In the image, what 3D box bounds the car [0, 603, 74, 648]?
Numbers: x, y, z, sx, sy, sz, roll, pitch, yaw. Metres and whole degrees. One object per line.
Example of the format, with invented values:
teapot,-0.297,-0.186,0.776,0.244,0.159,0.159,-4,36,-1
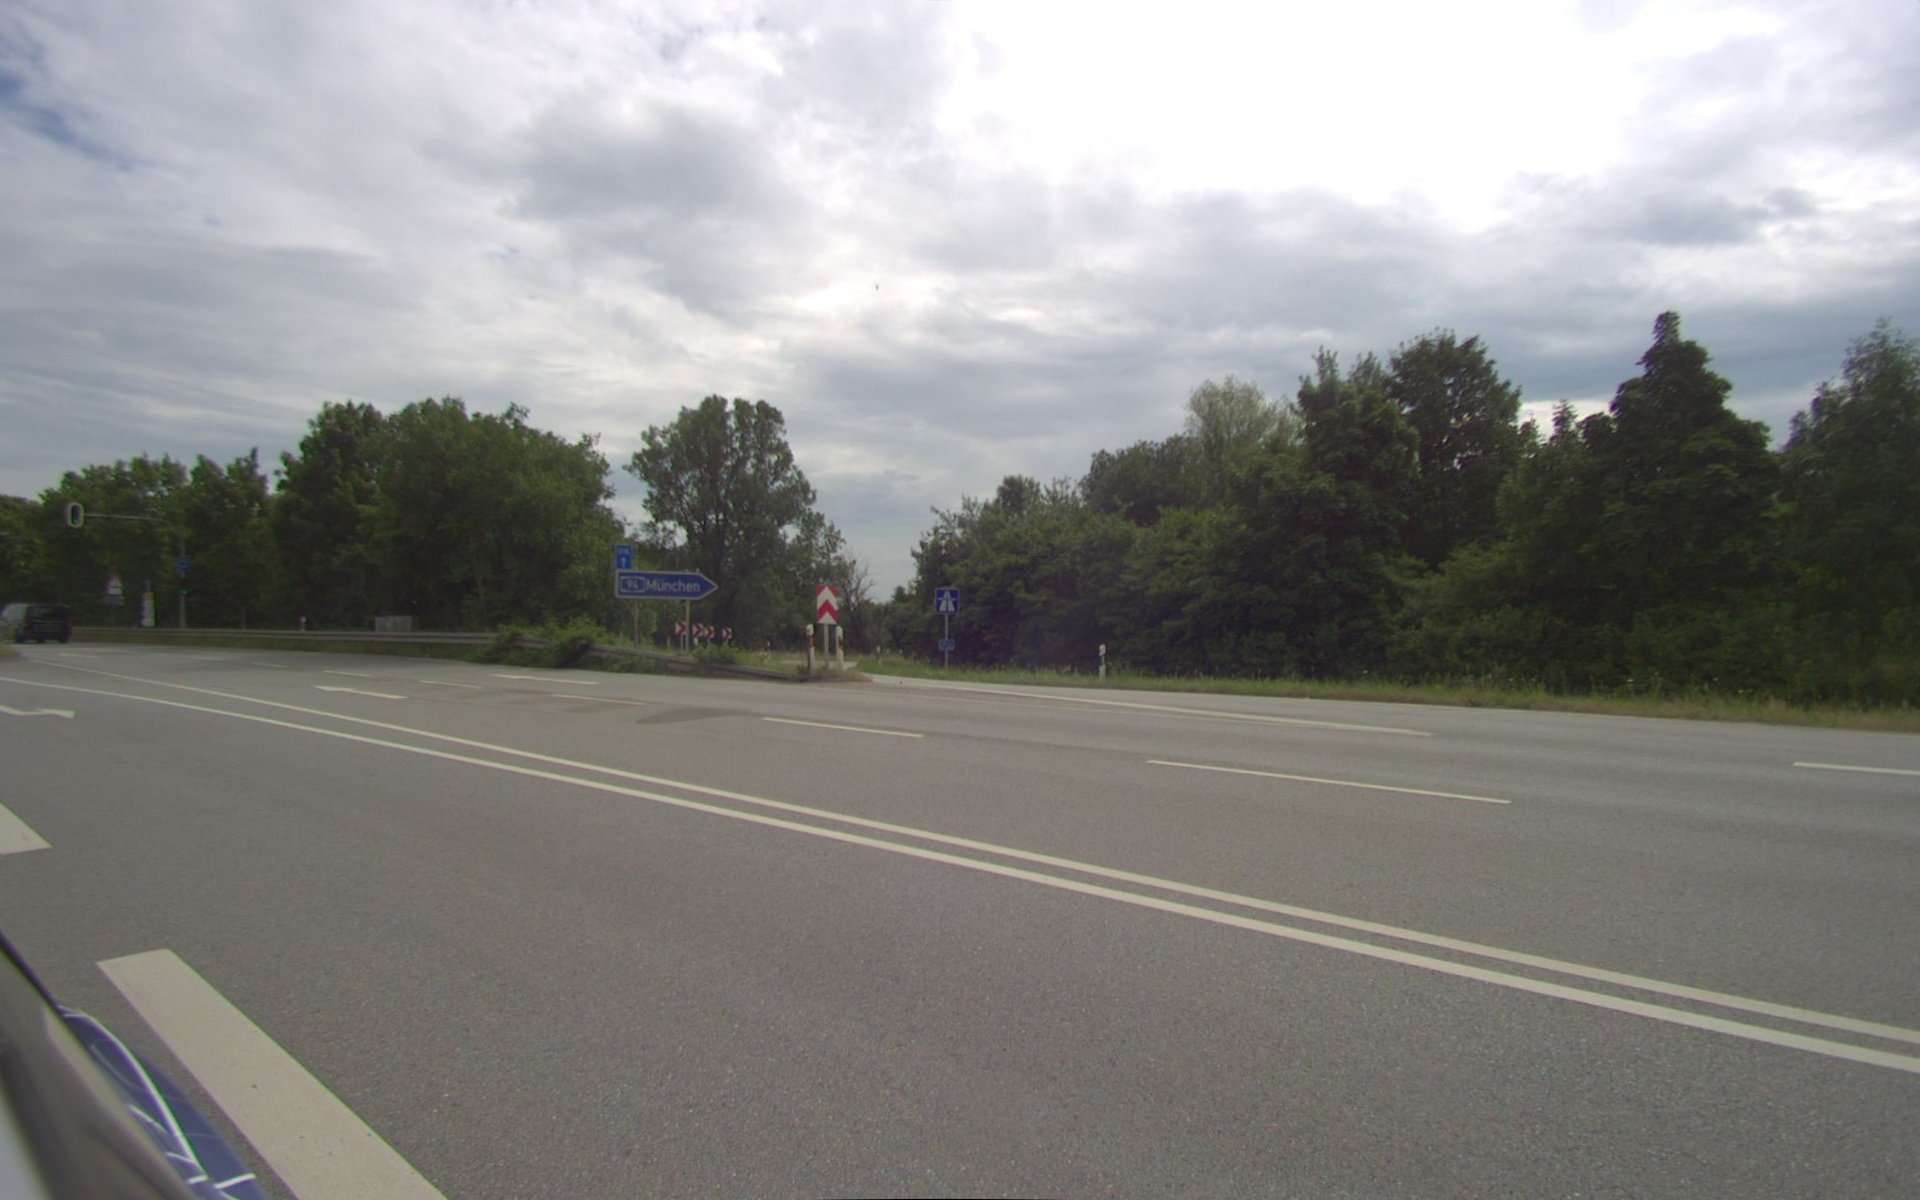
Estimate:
car,-44.003,1.173,48.150,3.992,2.029,1.976,-1,0,36
